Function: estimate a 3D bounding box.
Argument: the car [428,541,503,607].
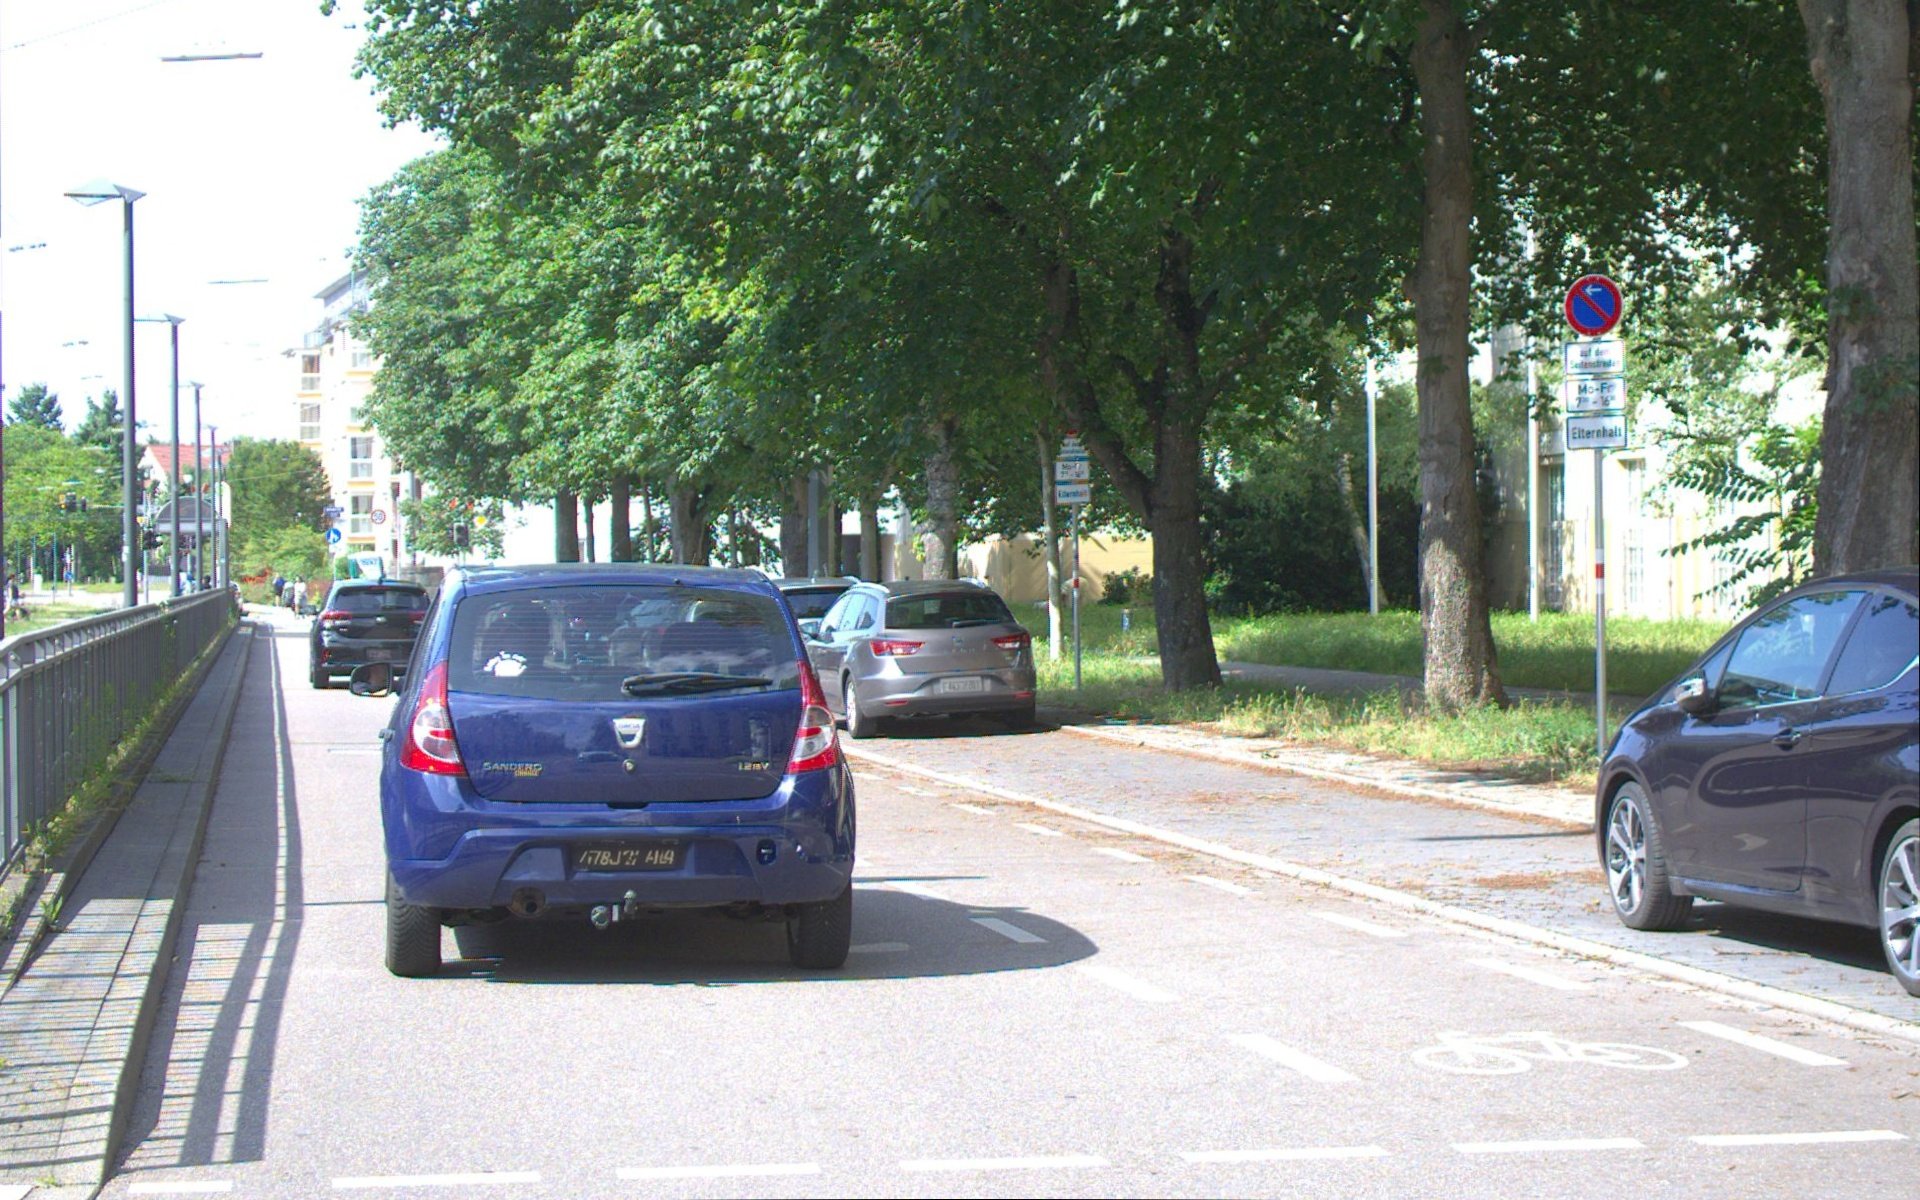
[{"bbox_3d":[-13.502,-0.723,94.002,1.830,1.756,4.001,-1,1,-5],"label":"car"}]

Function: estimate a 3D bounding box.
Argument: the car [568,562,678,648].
[{"bbox_3d":[-6.063,0.068,61.991,1.861,1.440,4.001,-2,1,-5],"label":"car"}]

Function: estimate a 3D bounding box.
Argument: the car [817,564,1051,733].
[{"bbox_3d":[-0.318,0.420,33.057,1.861,1.440,4.001,-2,1,-5],"label":"car"}]

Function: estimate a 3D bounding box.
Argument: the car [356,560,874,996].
[{"bbox_3d":[-1.473,0.580,13.650,1.767,1.457,3.776,0,1,-9],"label":"car"}]

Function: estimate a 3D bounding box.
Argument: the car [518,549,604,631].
[{"bbox_3d":[-8.799,-0.244,75.600,1.617,1.744,4.001,-1,1,-10],"label":"car"}]

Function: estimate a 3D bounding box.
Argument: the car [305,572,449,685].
[{"bbox_3d":[-7.745,0.353,45.886,1.699,1.363,3.516,0,2,-6],"label":"car"}]

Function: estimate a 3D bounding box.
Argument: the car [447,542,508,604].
[{"bbox_3d":[-14.047,-0.805,100.167,1.667,1.766,4.001,-1,1,-7],"label":"car"}]

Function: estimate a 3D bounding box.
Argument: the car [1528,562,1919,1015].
[{"bbox_3d":[3.671,0.595,12.806,1.765,1.428,3.905,-1,1,-12],"label":"car"}]

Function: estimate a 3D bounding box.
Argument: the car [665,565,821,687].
[{"bbox_3d":[-2.890,0.305,45.047,1.861,1.440,4.001,-2,1,-5],"label":"car"}]

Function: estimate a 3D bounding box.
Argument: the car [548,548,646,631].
[{"bbox_3d":[-7.074,-0.228,67.209,1.827,1.532,4.001,-1,1,-5],"label":"car"}]

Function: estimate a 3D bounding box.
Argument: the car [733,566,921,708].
[{"bbox_3d":[-1.564,0.378,39.029,1.861,1.440,4.001,-2,1,-5],"label":"car"}]
